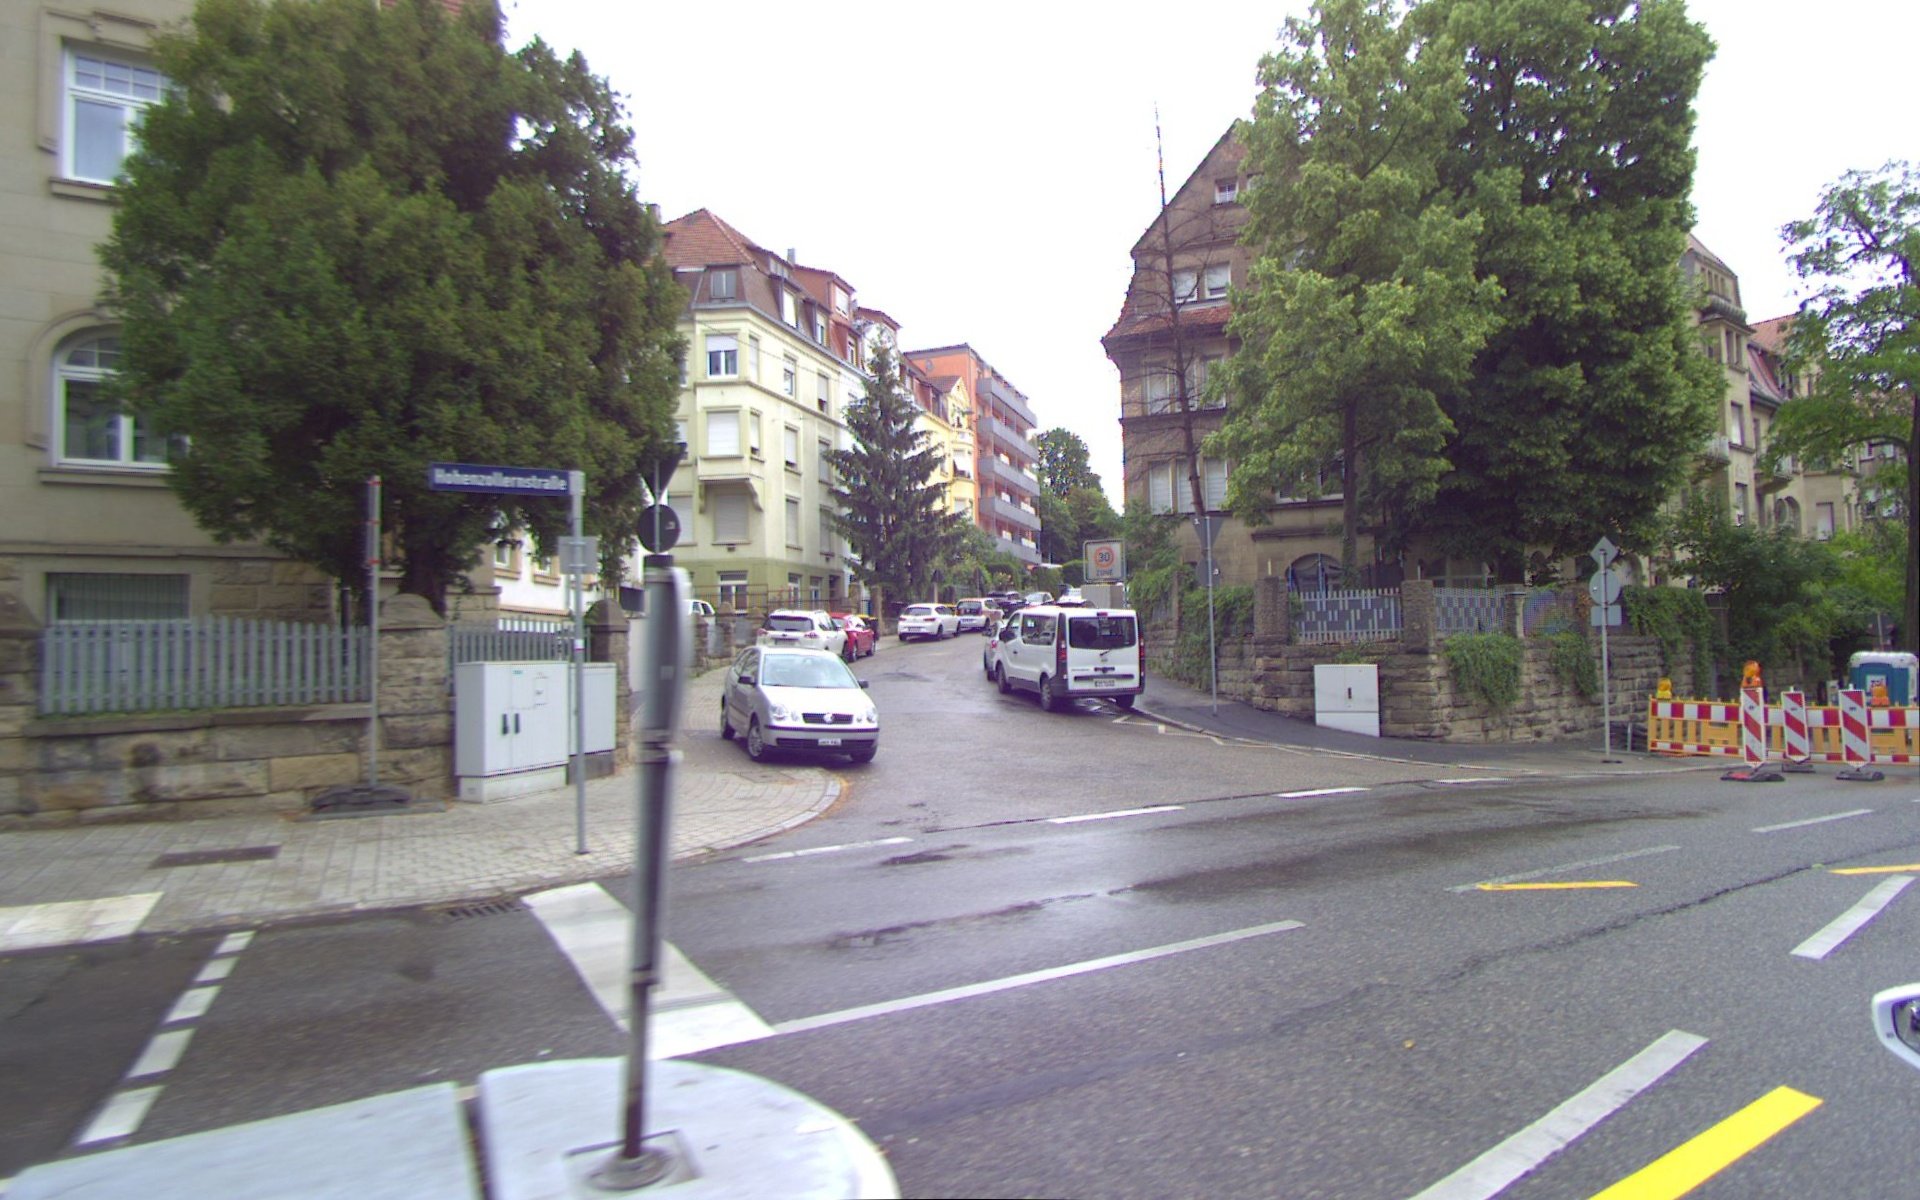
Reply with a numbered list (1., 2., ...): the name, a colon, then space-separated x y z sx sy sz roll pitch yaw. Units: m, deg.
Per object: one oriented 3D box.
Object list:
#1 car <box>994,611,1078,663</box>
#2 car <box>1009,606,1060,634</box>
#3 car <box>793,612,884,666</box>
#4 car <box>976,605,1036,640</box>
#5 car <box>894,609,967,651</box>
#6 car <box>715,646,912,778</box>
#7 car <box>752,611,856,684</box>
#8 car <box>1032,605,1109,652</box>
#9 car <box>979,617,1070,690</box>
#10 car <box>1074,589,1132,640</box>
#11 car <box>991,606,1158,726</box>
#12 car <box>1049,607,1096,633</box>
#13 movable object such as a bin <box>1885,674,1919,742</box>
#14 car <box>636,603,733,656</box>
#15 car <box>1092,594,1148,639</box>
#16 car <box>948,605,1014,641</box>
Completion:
1. car: 2.754 1.272 35.277 1.993 1.555 4.445 4 0 16
2. car: 4.335 1.114 57.602 1.882 1.427 3.990 4 1 19
3. car: -3.856 1.263 32.461 1.881 1.493 3.838 4 -2 8
4. car: 2.435 1.120 51.842 1.882 1.531 4.248 4 2 19
5. car: -1.151 1.188 41.598 1.717 1.527 4.159 4 1 16
6. car: -2.236 1.508 14.375 1.801 1.427 3.853 5 -2 -23
7. car: -4.144 1.260 27.322 1.882 1.696 4.160 4 -2 3
8. car: 4.515 1.161 40.337 2.072 1.649 4.444 4 0 19
9. car: 1.627 1.346 26.841 2.072 1.535 4.441 -1 2 -1
10. car: 6.511 0.655 45.420 1.760 2.068 3.937 4 1 19
11. car: 2.269 1.268 21.390 1.991 2.076 4.664 1 2 -14
12. car: 7.496 1.341 66.443 2.072 1.427 4.445 4 -2 19
13. movable object such as a bin: 34.111 3.767 35.028 2.784 2.329 1.984 4 -5 -32
14. car: -8.913 0.972 32.824 1.740 1.493 3.838 4 -2 5
15. car: 7.933 0.831 49.478 1.884 2.038 4.444 4 0 19
16. car: 1.030 1.034 46.858 1.814 1.477 4.158 4 1 19
